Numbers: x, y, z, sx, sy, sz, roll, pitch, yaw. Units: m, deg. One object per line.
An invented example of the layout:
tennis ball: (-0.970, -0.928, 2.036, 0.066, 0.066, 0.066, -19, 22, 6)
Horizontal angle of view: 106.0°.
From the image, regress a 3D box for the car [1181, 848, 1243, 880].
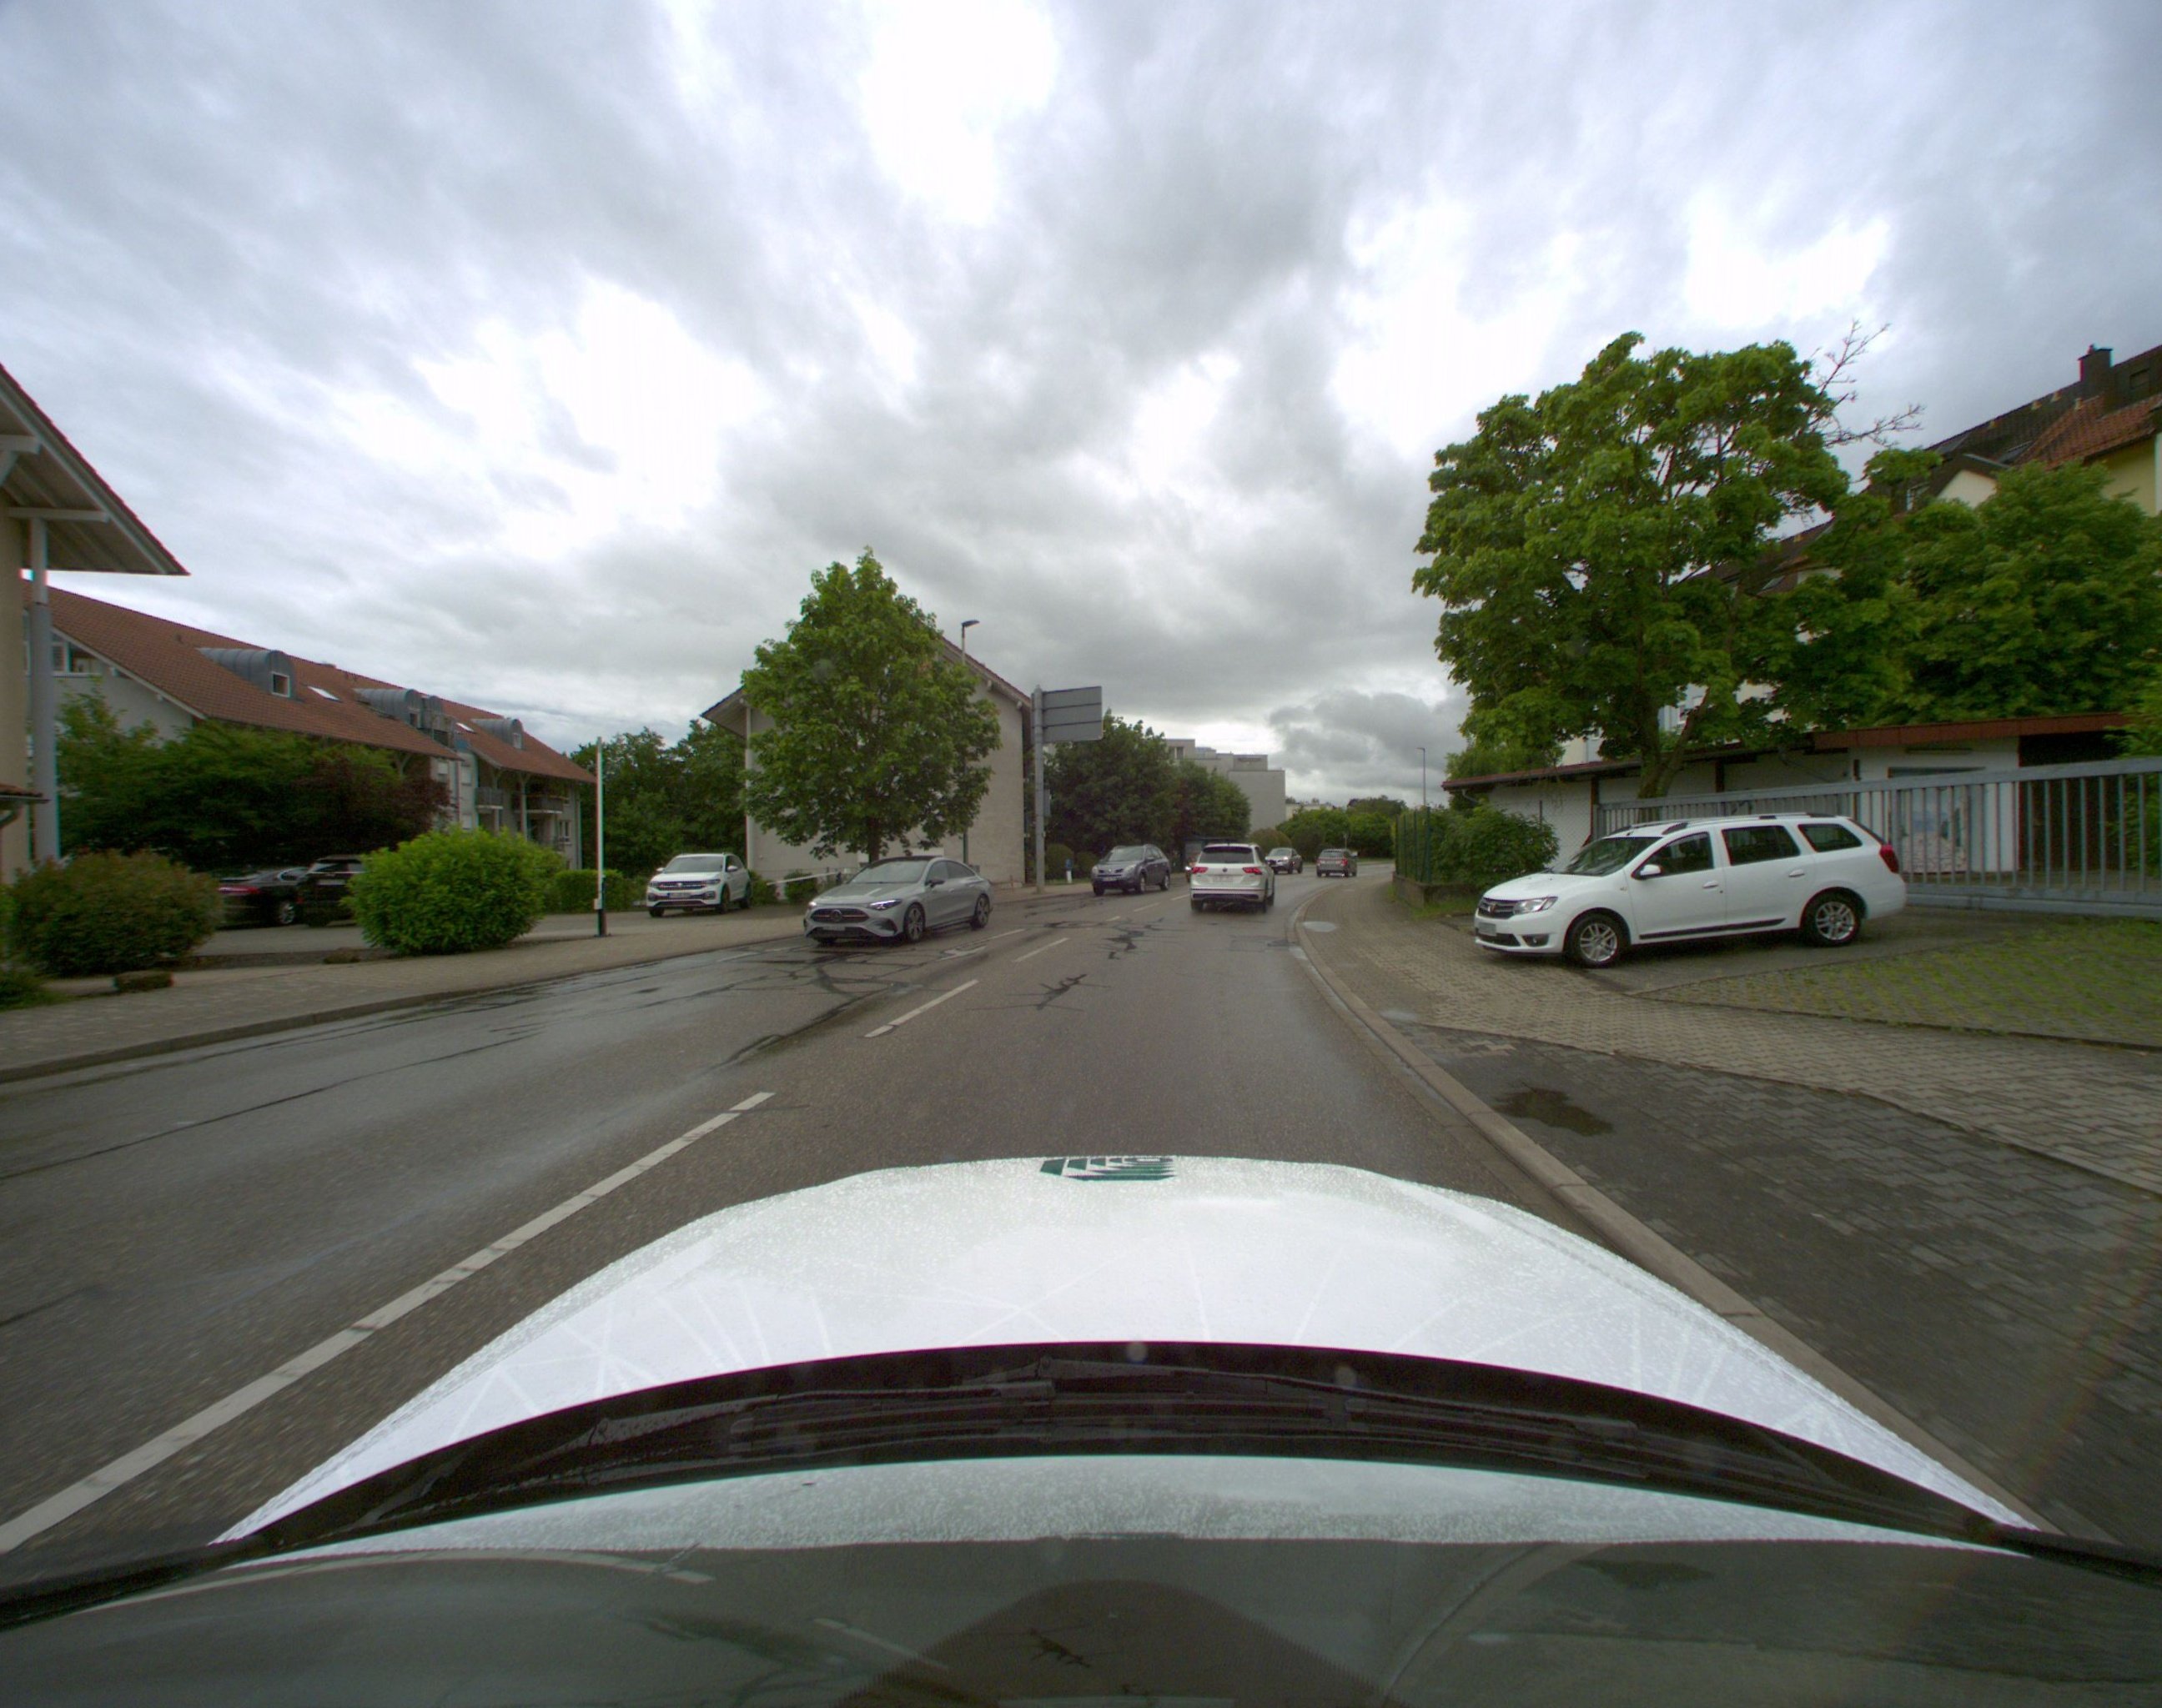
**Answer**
car: (6.459, 0.464, 39.796, 1.884, 1.439, 4.139, -1, 0, 26)

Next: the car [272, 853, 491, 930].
car: (-16.682, 0.878, 19.746, 1.990, 1.651, 3.993, 0, -2, -5)

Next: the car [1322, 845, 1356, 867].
car: (19.708, 0.145, 62.035, 1.884, 1.590, 4.139, -1, 0, 26)

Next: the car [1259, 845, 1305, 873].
car: (12.314, 0.281, 49.788, 1.884, 1.657, 4.139, -1, 0, 26)

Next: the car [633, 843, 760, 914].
car: (-9.863, 0.645, 21.256, 1.994, 1.651, 3.985, 0, -2, -10)

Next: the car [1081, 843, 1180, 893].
car: (1.849, 0.451, 29.165, 1.883, 1.657, 4.293, -1, 0, 28)

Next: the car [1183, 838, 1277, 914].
car: (3.935, 0.468, 20.889, 1.906, 1.722, 4.283, 1, 1, 16)

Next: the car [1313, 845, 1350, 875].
car: (13.503, 0.358, 43.855, 1.751, 1.510, 4.018, -1, -2, 19)

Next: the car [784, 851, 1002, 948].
car: (-3.200, 0.698, 14.964, 1.887, 1.390, 4.509, 0, 1, 17)

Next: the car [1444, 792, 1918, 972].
car: (6.977, 0.298, 9.818, 4.326, 1.596, 1.766, -5, 0, 0)

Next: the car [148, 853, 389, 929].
car: (-19.480, 0.879, 19.840, 1.991, 1.651, 3.991, 0, -2, -6)
